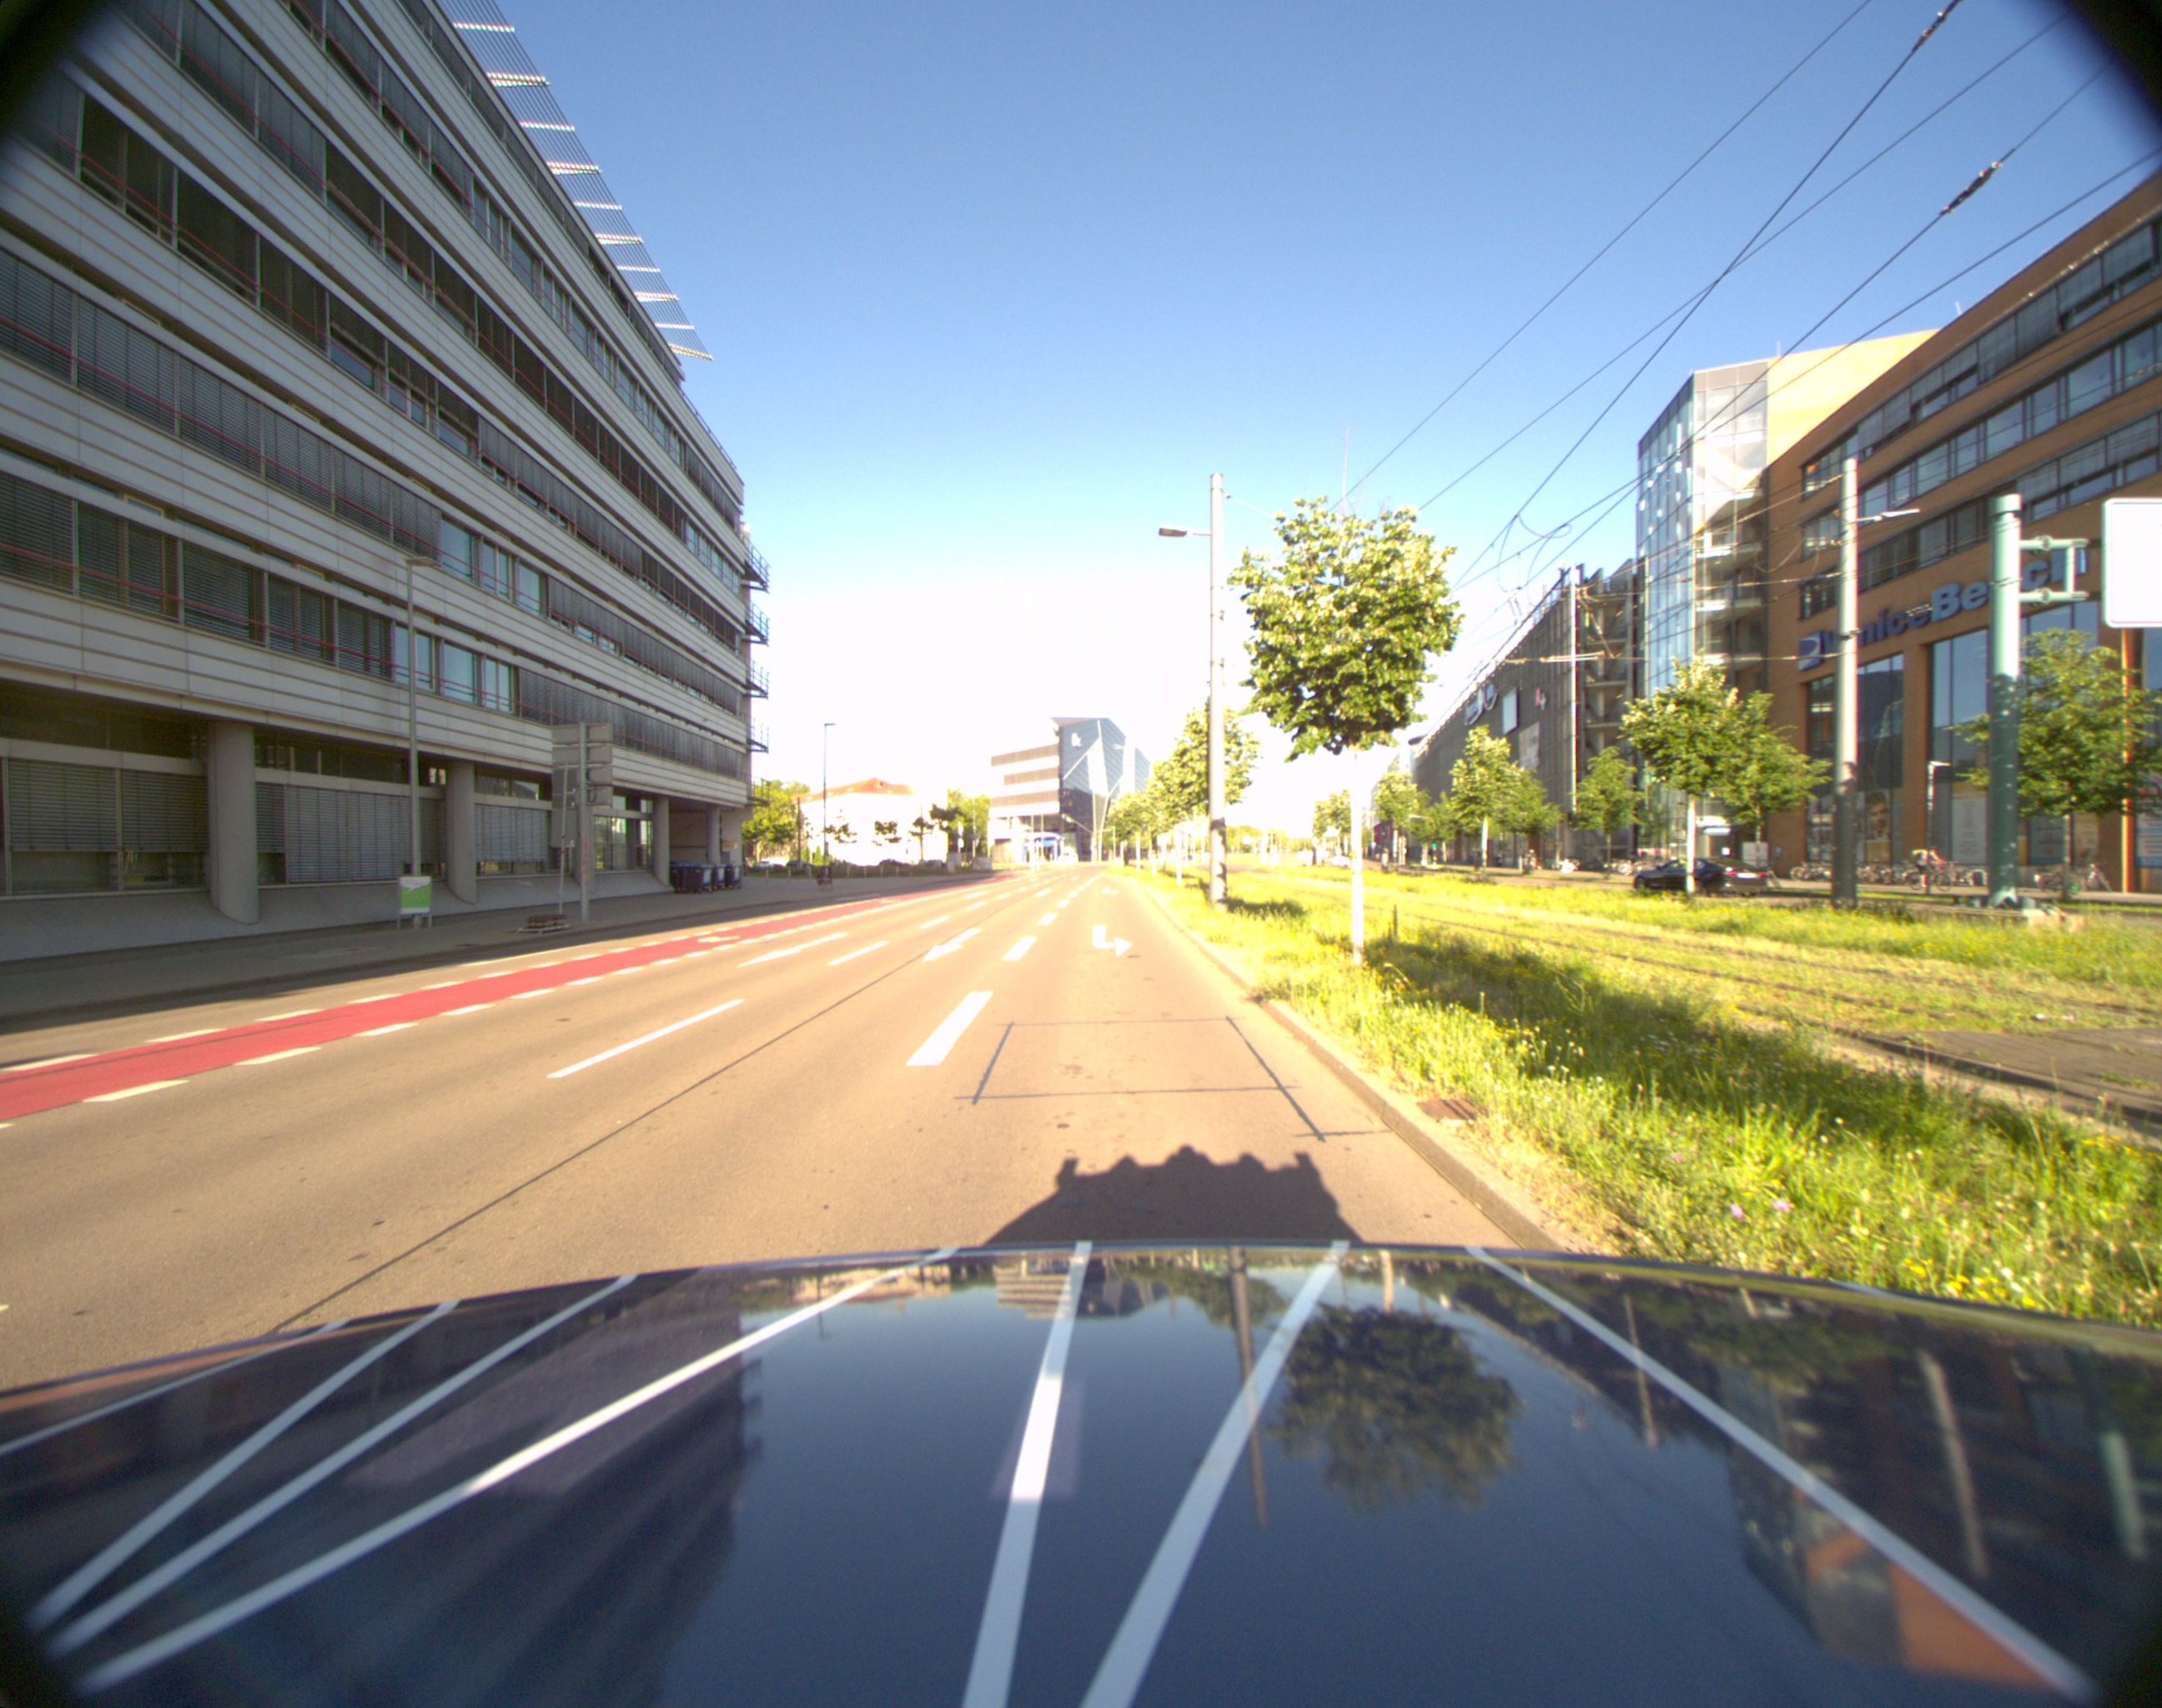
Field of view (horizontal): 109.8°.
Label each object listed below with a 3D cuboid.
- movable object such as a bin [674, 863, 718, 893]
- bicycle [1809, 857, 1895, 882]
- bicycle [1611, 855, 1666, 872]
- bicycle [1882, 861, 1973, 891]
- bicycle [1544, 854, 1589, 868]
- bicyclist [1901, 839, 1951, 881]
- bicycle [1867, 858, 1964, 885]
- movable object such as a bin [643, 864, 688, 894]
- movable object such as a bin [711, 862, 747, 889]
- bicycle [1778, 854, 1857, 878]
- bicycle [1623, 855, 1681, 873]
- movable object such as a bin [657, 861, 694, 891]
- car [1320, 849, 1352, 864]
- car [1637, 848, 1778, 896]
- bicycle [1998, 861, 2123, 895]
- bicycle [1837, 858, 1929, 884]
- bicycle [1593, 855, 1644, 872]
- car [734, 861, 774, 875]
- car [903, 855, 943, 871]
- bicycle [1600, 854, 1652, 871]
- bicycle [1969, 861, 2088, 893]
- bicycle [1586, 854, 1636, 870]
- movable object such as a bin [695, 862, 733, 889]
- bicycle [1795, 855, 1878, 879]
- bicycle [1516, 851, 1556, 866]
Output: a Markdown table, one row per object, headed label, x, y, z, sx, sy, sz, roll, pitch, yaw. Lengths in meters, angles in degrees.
| label | x | y | z | sx | sy | sz | roll | pitch | yaw |
| --- | --- | --- | --- | --- | --- | --- | --- | --- | --- |
| movable object such as a bin | -17.152 | 1.047 | 33.905 | 1.328 | 1.294 | 1.174 | -1 | 1 | 1 |
| bicycle | 34.910 | 0.684 | 34.441 | 2.687 | 1.097 | 0.897 | 0 | 0 | 11 |
| bicycle | 35.598 | 0.594 | 48.562 | 2.687 | 1.097 | 0.897 | 0 | 0 | 11 |
| bicycle | 32.208 | 0.810 | 28.995 | 0.894 | 1.097 | 2.694 | 0 | 0 | 11 |
| bicycle | 36.850 | 0.537 | 57.703 | 2.687 | 1.097 | 0.897 | 0 | 0 | 11 |
| bicyclist | 32.203 | 0.232 | 28.983 | 0.894 | 1.539 | 0.940 | 0 | 0 | 11 |
| bicycle | 34.506 | 0.733 | 31.464 | 2.687 | 1.097 | 0.897 | 0 | 0 | 11 |
| movable object such as a bin | -18.516 | 1.097 | 33.895 | 1.328 | 1.294 | 1.174 | -1 | 1 | 1 |
| movable object such as a bin | -17.769 | 1.076 | 38.386 | 1.173 | 1.293 | 1.329 | -1 | 1 | 1 |
| bicycle | 35.664 | 0.580 | 36.825 | 2.687 | 1.097 | 0.897 | 0 | 0 | 11 |
| bicycle | 35.060 | 0.636 | 46.690 | 2.687 | 1.097 | 0.897 | 0 | 0 | 11 |
| movable object such as a bin | -19.086 | 1.009 | 35.825 | 1.109 | 1.366 | 1.108 | -1 | 1 | 1 |
| car | 26.986 | 0.252 | 80.466 | 1.678 | 1.519 | 4.354 | 0 | 0 | -4 |
| car | 21.914 | 0.575 | 26.823 | 1.625 | 1.519 | 4.357 | 0 | 0 | 4 |
| bicycle | 33.292 | 0.812 | 25.861 | 2.687 | 1.097 | 0.897 | 0 | 0 | 11 |
| bicycle | 34.579 | 0.715 | 32.803 | 2.687 | 1.097 | 0.897 | 0 | 0 | 11 |
| bicycle | 36.203 | 0.639 | 51.234 | 2.687 | 1.097 | 0.826 | 0 | 0 | 11 |
| car | -36.438 | 1.540 | 84.615 | 3.794 | 1.523 | 1.742 | 0 | 1 | 13 |
| car | -15.411 | 0.858 | 73.993 | 3.790 | 1.523 | 1.744 | 0 | 1 | 37 |
| bicycle | 36.044 | 0.558 | 50.259 | 2.687 | 1.097 | 0.897 | 0 | 0 | 11 |
| bicycle | 33.491 | 0.819 | 26.889 | 2.687 | 1.097 | 0.897 | 0 | 0 | 11 |
| bicycle | 36.322 | 0.532 | 52.145 | 2.687 | 1.097 | 0.897 | 0 | 0 | 11 |
| movable object such as a bin | -17.893 | 1.036 | 37.041 | 1.173 | 1.293 | 1.329 | -1 | 1 | 1 |
| bicycle | 35.424 | 0.599 | 35.665 | 2.687 | 1.097 | 0.897 | 0 | 0 | 11 |
| bicycle | 37.924 | 0.392 | 63.352 | 2.687 | 1.182 | 0.897 | 0 | 0 | 11 |
